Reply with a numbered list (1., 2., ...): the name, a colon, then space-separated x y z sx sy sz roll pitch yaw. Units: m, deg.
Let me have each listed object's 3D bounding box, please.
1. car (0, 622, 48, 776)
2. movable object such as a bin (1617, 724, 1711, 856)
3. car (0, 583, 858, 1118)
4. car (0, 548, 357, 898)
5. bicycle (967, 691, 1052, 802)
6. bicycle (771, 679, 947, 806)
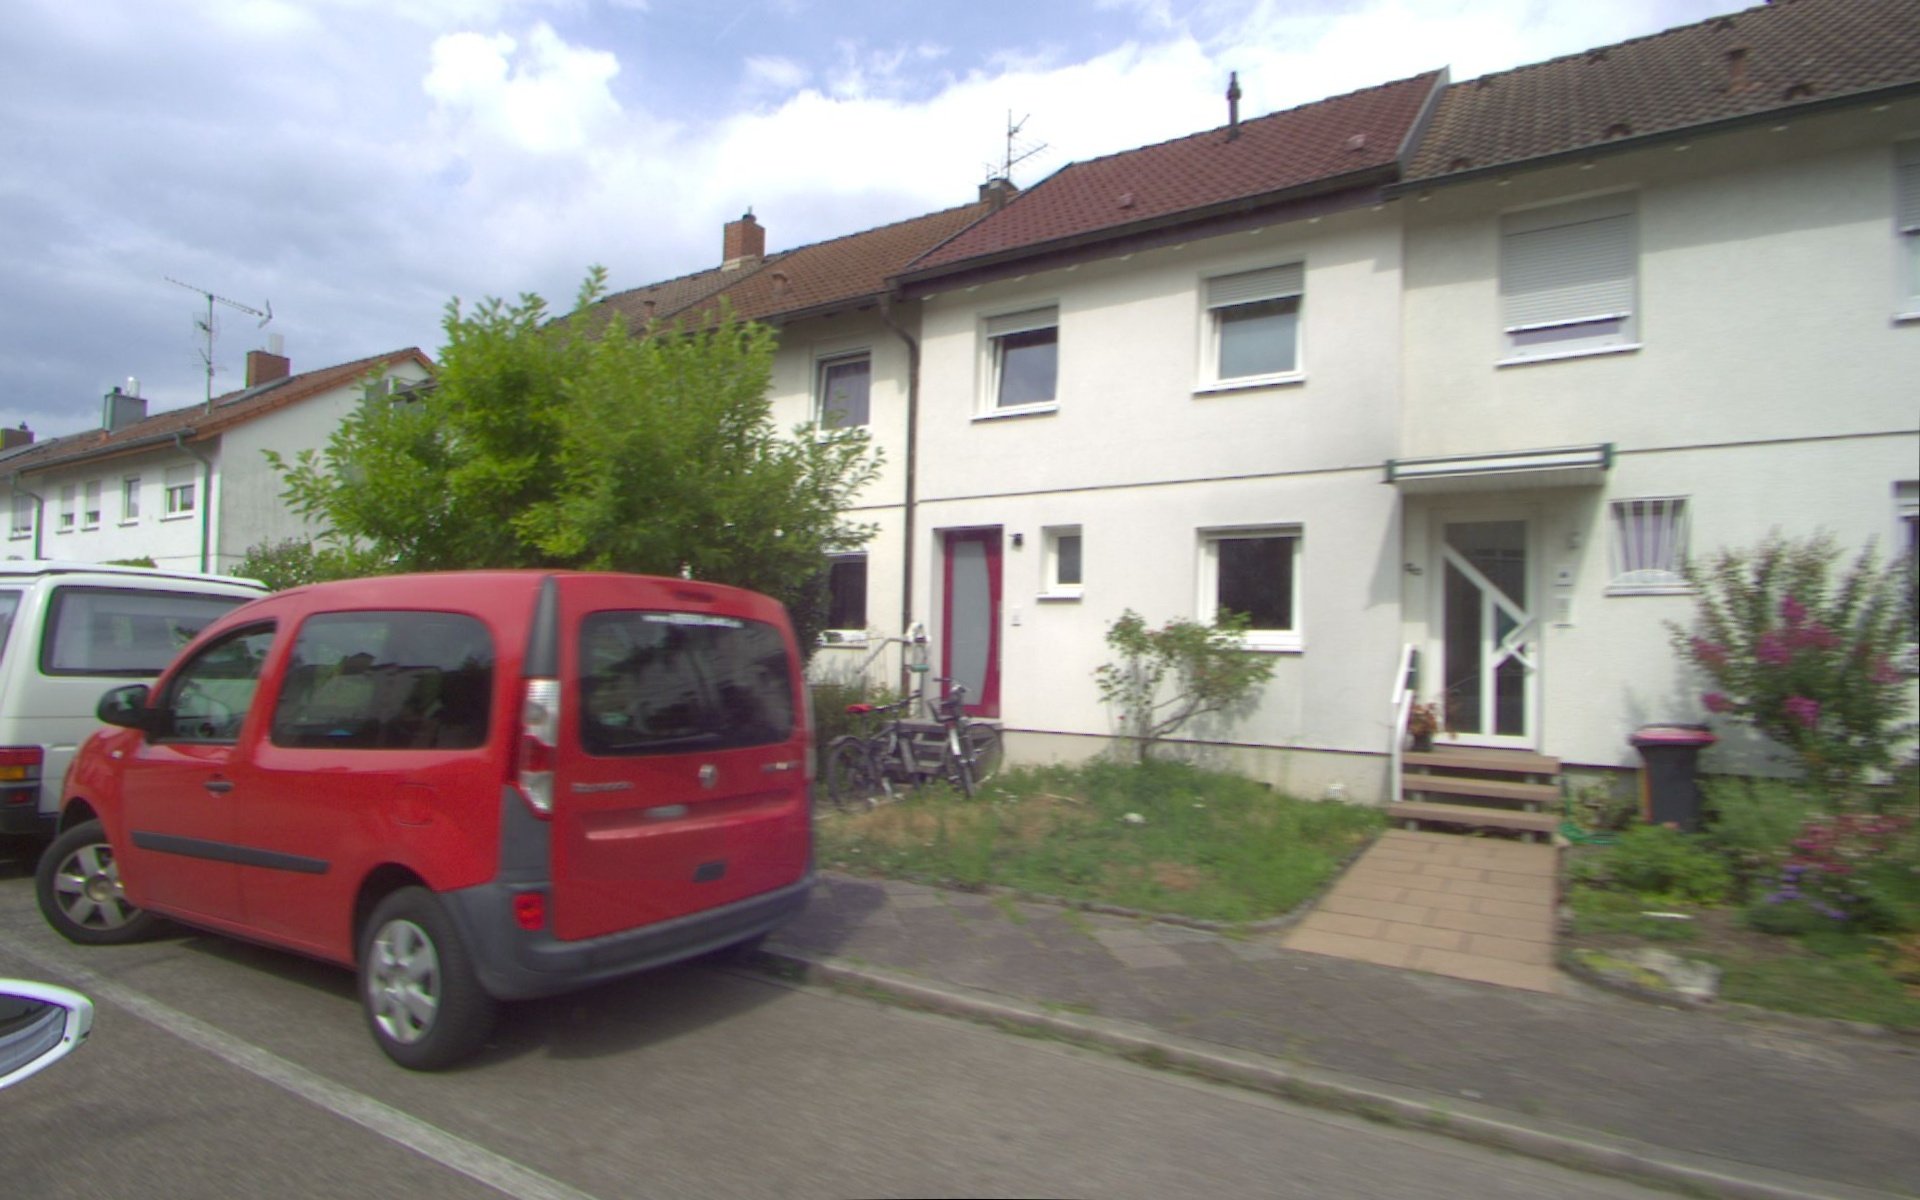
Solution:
1. car: -11.289 0.935 10.222 4.070 1.478 1.898 0 -2 32
2. movable object such as a bin: 5.277 1.397 7.538 0.542 0.861 0.688 0 -2 33
3. car: -2.829 0.823 4.971 4.342 1.672 1.810 0 -2 28
4. car: -6.977 0.741 7.631 4.675 1.972 2.019 0 -2 30
5. bicycle: 0.438 1.354 9.584 0.731 0.876 1.593 1 -2 0
6. bicycle: -0.820 1.183 8.725 0.552 0.919 1.876 0 -2 29
